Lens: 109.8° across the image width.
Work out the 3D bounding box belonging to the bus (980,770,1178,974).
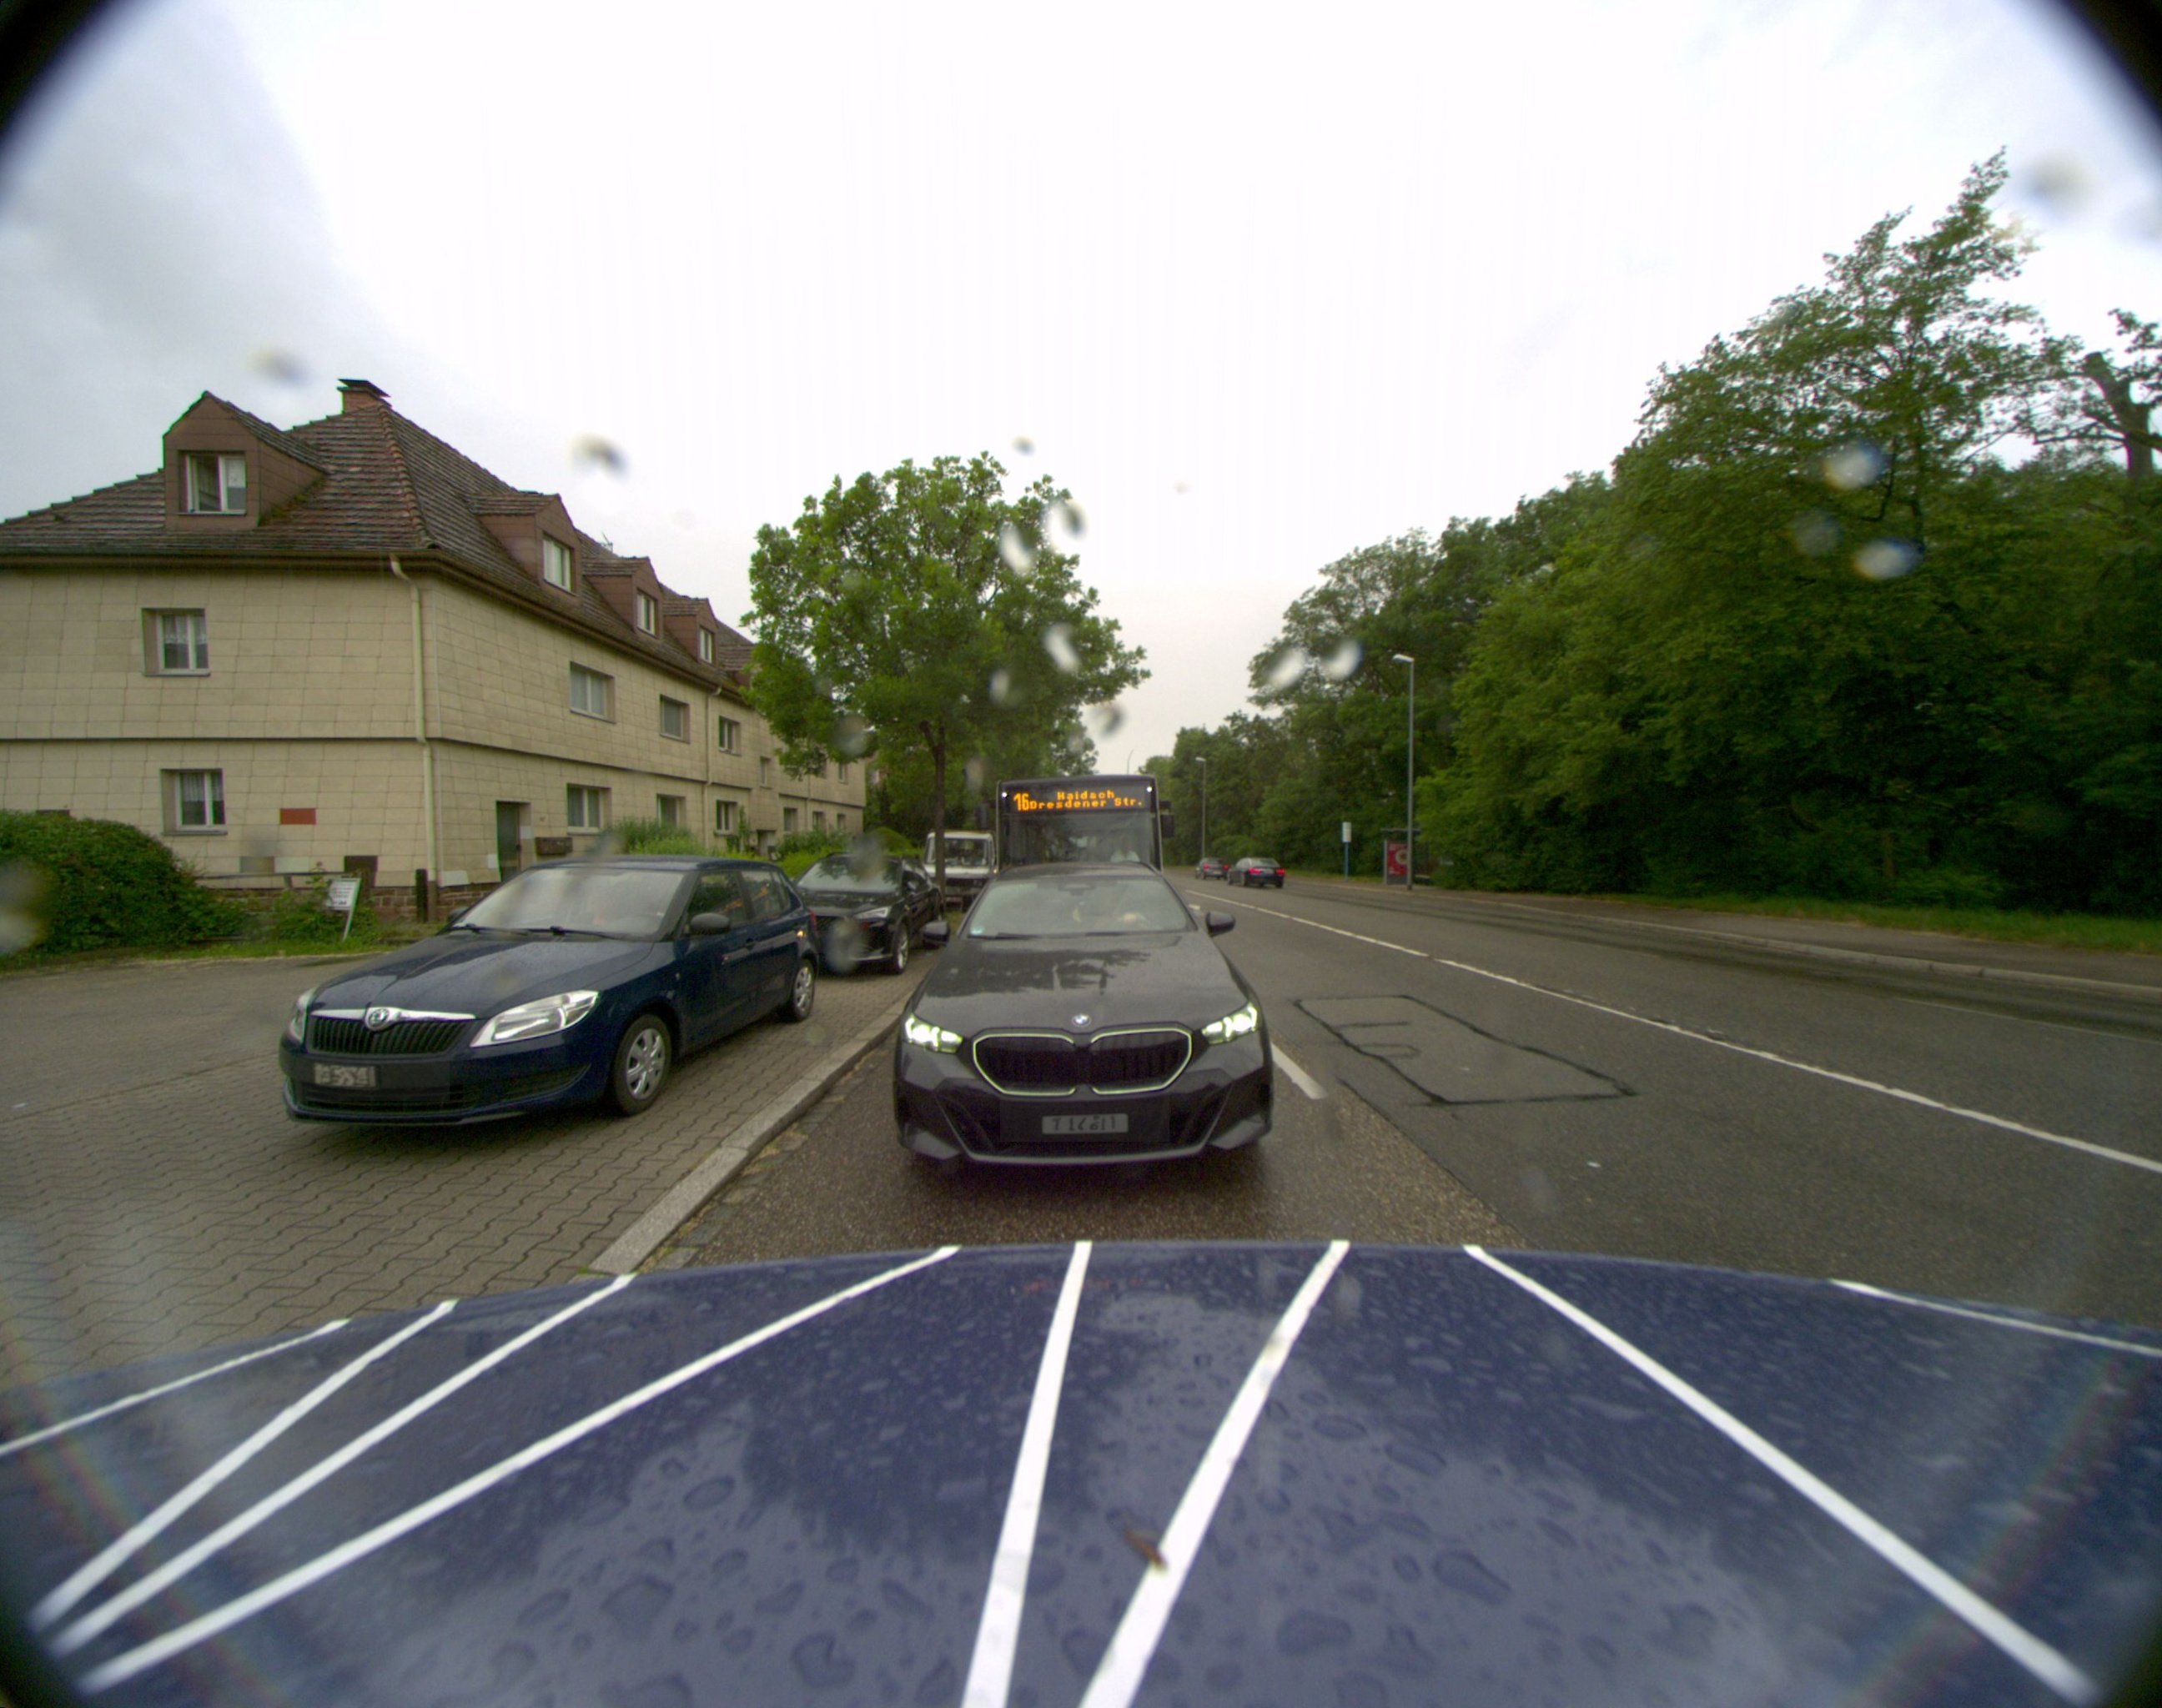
[{"bbox_3d":[0.102,0.217,15.711,2.767,2.858,9.403,-2,1,2],"label":"bus"}]

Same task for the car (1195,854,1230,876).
[{"bbox_3d":[8.680,0.696,50.436,1.598,1.420,3.905,1,0,-1],"label":"car"}]

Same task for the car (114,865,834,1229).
[{"bbox_3d":[-3.255,0.858,5.248,1.720,1.416,3.999,1,1,1],"label":"car"}]

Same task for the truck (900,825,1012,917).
[{"bbox_3d":[-3.250,0.412,21.043,1.998,2.184,5.756,0,0,2],"label":"truck"}]

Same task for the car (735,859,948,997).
[{"bbox_3d":[-3.057,0.850,10.589,1.720,1.455,3.999,1,1,-1],"label":"car"}]

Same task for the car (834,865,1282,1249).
[{"bbox_3d":[-0.073,0.928,5.487,1.882,1.520,4.316,-3,0,1],"label":"car"}]

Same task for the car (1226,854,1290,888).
[{"bbox_3d":[8.804,0.816,38.165,1.915,1.445,4.947,3,1,-1],"label":"car"}]
